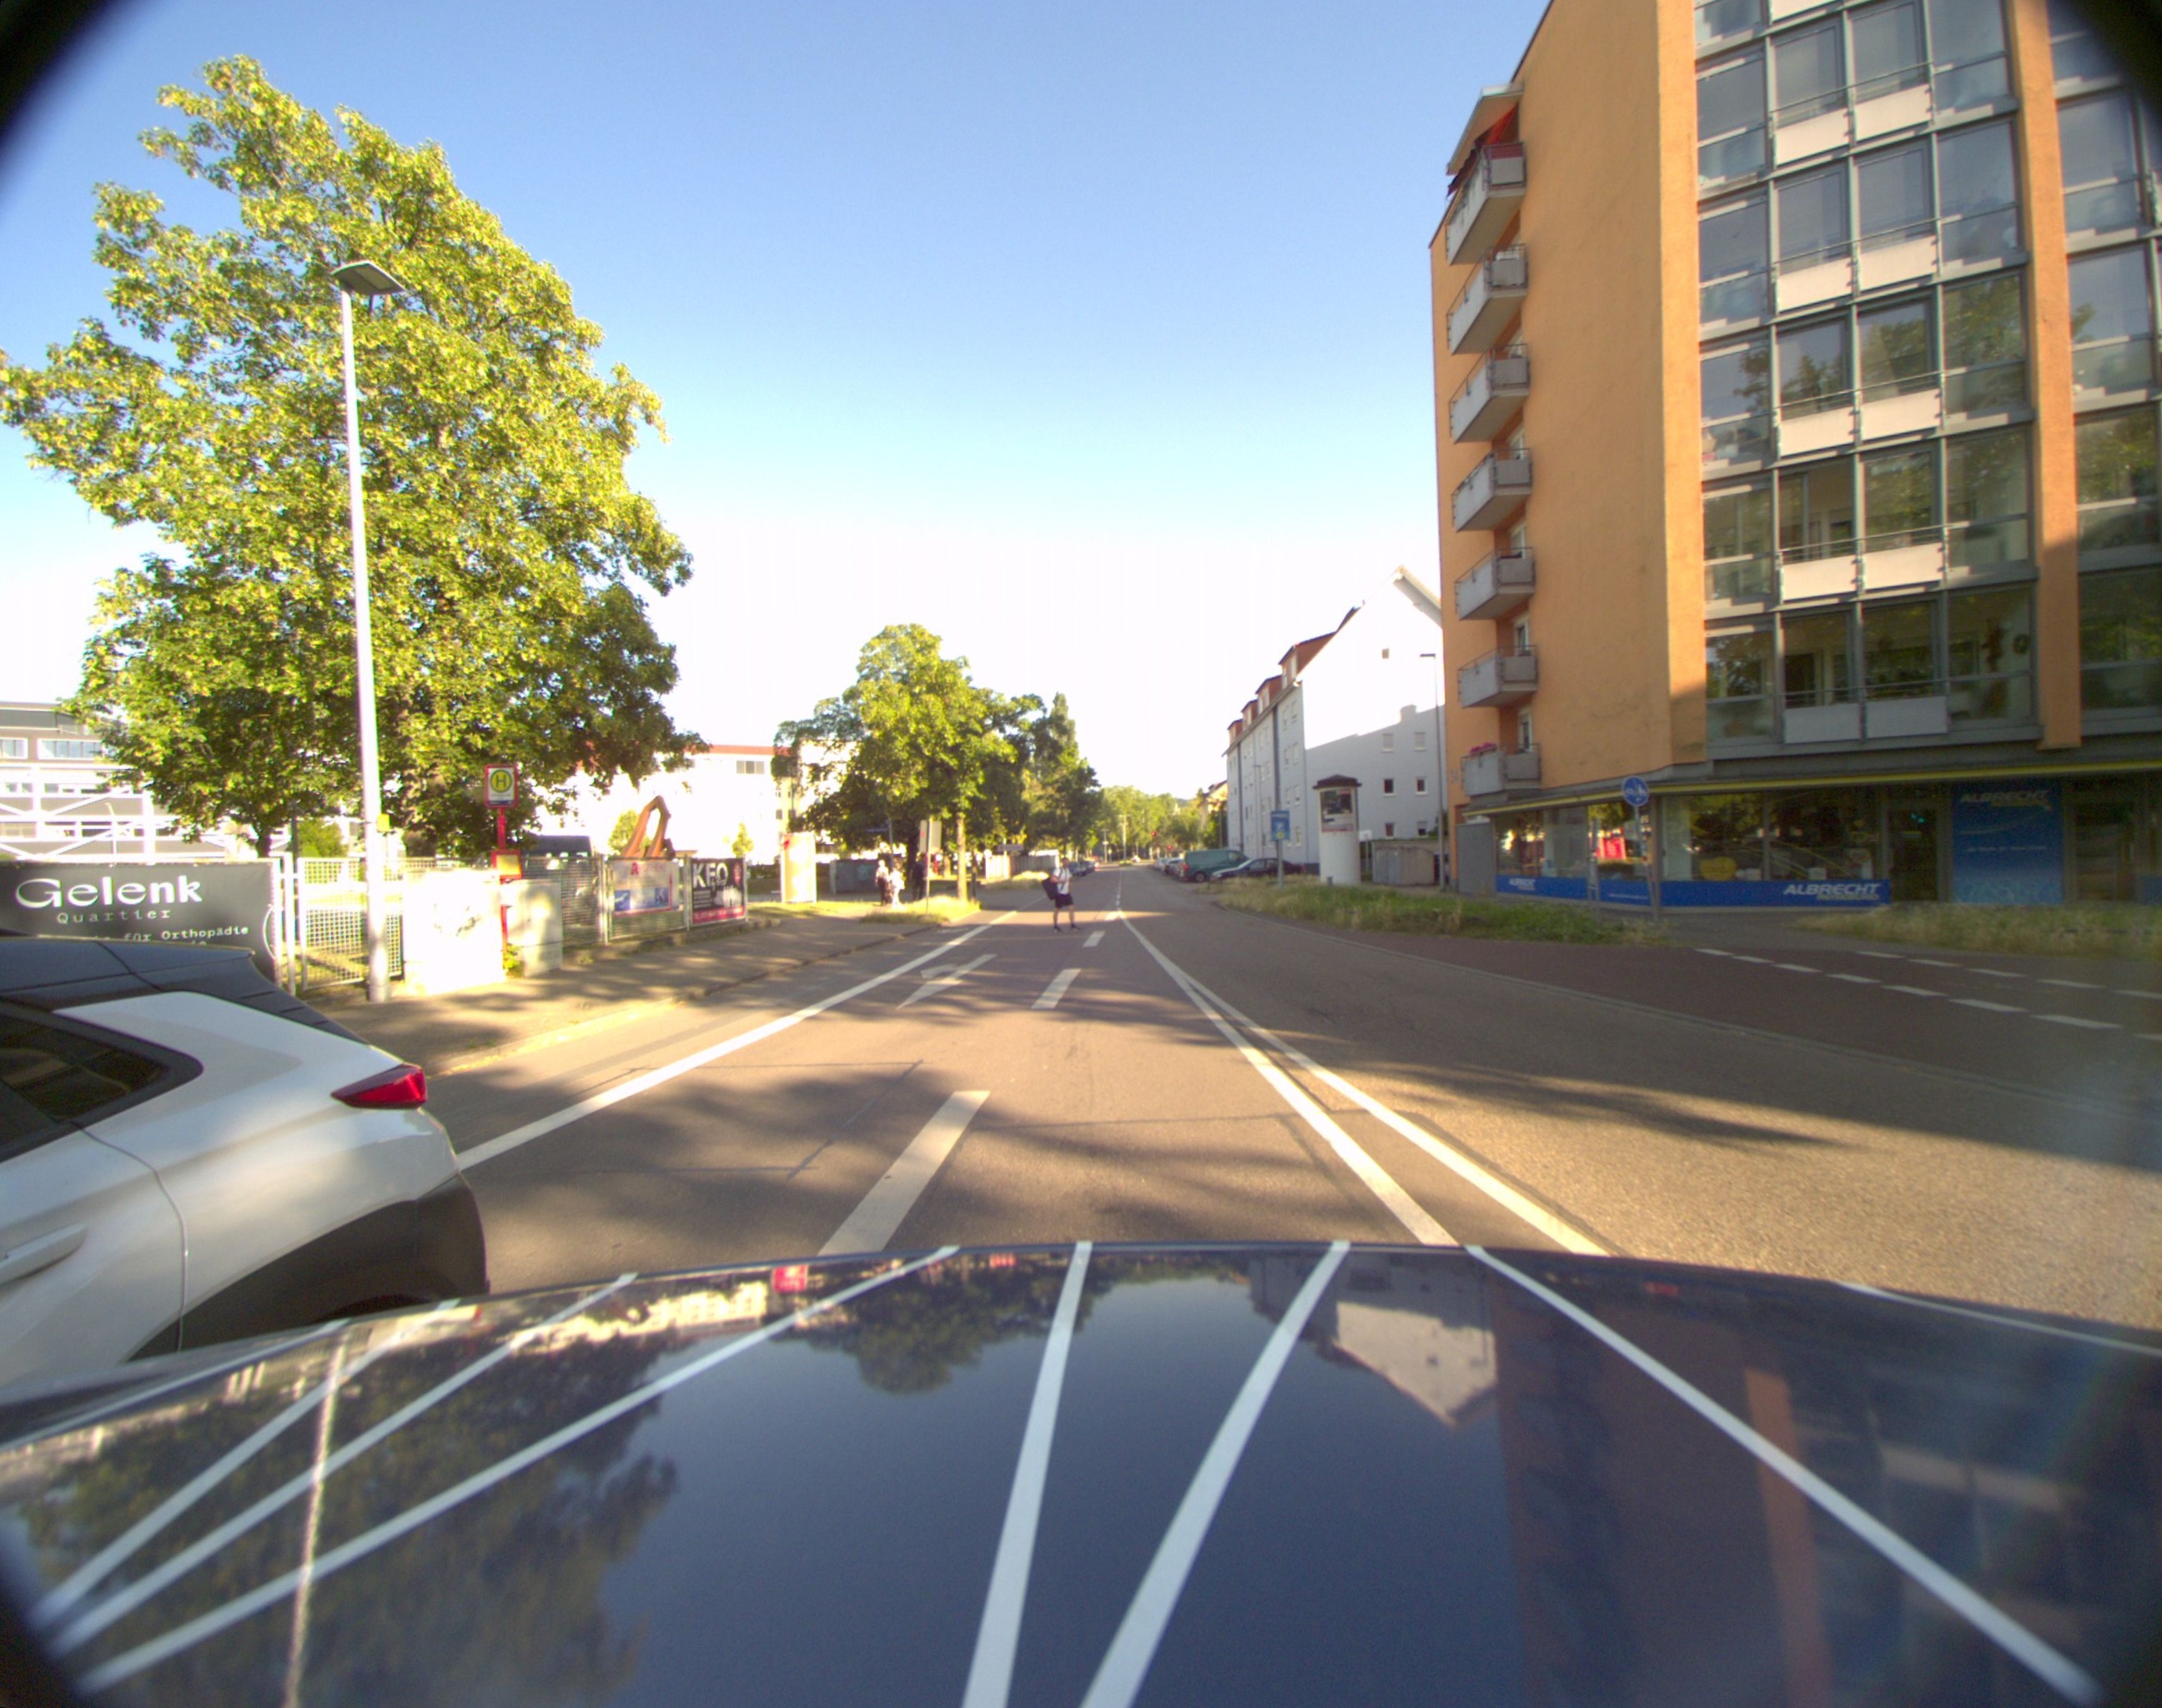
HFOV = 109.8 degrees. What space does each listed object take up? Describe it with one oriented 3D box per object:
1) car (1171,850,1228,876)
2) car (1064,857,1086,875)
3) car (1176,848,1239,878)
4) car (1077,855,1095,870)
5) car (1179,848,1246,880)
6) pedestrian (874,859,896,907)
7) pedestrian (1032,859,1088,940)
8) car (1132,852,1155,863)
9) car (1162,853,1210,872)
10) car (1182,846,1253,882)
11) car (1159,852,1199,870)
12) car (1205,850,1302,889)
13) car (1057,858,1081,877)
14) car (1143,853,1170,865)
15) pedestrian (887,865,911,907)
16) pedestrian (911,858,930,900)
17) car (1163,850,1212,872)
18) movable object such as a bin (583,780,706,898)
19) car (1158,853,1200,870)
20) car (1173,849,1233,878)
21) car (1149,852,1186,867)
[{"bbox_3d":[8.746,0.660,56.437,4.071,1.741,1.899,-2,1,5],"label":"car"},{"bbox_3d":[-0.588,1.148,73.944,1.998,1.521,3.999,-2,1,1],"label":"car"},{"bbox_3d":[8.498,0.585,51.343,3.995,1.805,2.000,-2,1,5],"label":"car"},{"bbox_3d":[0.567,0.948,87.977,1.998,1.521,3.999,-2,1,1],"label":"car"},{"bbox_3d":[8.355,0.621,48.587,3.995,1.805,2.000,-2,1,5],"label":"car"},{"bbox_3d":[-7.172,1.046,27.862,0.609,1.727,0.638,-2,1,-5],"label":"pedestrian"},{"bbox_3d":[-0.497,1.006,17.358,0.903,1.727,1.086,-3,1,-21],"label":"pedestrian"},{"bbox_3d":[9.701,0.586,118.223,3.538,1.564,1.867,-2,1,5],"label":"car"},{"bbox_3d":[9.566,0.771,69.374,4.257,1.564,1.867,-2,1,5],"label":"car"},{"bbox_3d":[8.192,0.591,45.939,3.996,1.936,2.000,-2,1,4],"label":"car"},{"bbox_3d":[10.258,0.722,80.067,4.071,1.741,1.899,-2,1,5],"label":"car"},{"bbox_3d":[8.296,0.730,36.874,4.423,1.652,2.001,-2,1,9],"label":"car"},{"bbox_3d":[-1.091,1.216,69.596,1.998,1.521,3.999,-2,1,1],"label":"car"},{"bbox_3d":[10.465,0.701,105.242,3.538,1.564,1.867,-2,1,5],"label":"car"},{"bbox_3d":[-6.547,1.141,27.340,0.609,1.426,0.639,-2,1,1],"label":"pedestrian"},{"bbox_3d":[-6.644,1.022,31.483,0.696,1.659,0.638,-2,1,-11],"label":"pedestrian"},{"bbox_3d":[9.273,0.606,66.488,4.117,1.762,1.757,-2,1,5],"label":"car"},{"bbox_3d":[-22.231,-0.702,38.549,3.986,5.447,6.016,-3,1,-42],"label":"movable object such as a bin"},{"bbox_3d":[10.306,0.753,79.931,4.257,1.564,1.867,-2,1,5],"label":"car"},{"bbox_3d":[8.569,0.666,53.693,4.059,1.805,1.937,-2,1,5],"label":"car"},{"bbox_3d":[10.222,0.642,90.190,4.257,1.564,1.867,-2,1,5],"label":"car"}]
